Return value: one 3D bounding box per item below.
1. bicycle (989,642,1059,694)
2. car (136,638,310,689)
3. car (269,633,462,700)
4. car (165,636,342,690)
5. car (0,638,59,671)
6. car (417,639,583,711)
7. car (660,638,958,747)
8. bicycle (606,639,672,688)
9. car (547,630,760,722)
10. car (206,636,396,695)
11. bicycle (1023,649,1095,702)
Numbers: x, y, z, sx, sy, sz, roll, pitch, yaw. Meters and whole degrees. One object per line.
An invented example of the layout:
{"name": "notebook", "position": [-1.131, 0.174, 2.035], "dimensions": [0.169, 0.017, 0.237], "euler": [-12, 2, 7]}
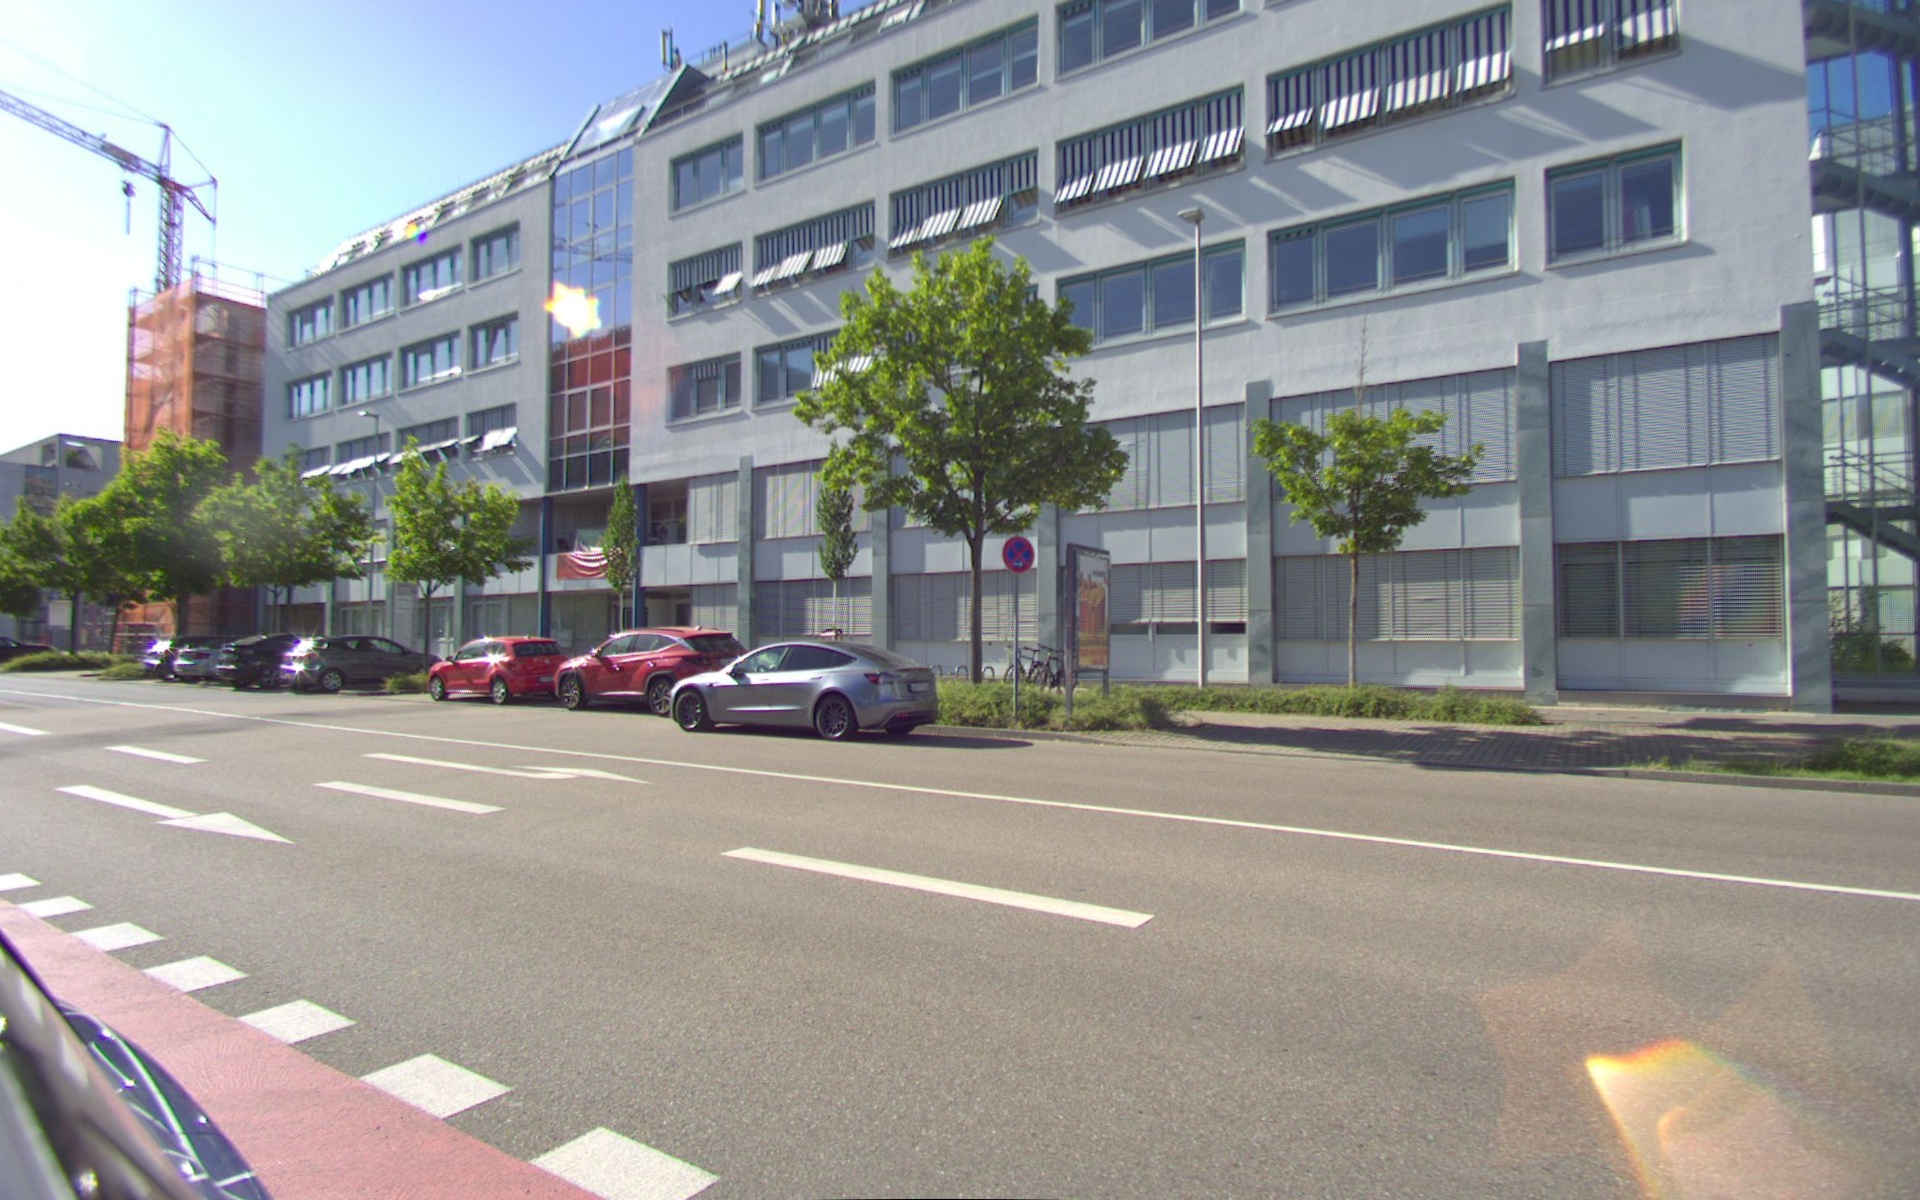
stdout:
{"name": "bicycle", "position": [1.397, 1.465, 21.885], "dimensions": [0.555, 1.077, 1.748], "euler": [-2, -5, 41]}
{"name": "car", "position": [-24.278, 2.040, 33.502], "dimensions": [1.688, 1.443, 4.351], "euler": [-2, -1, 32]}
{"name": "car", "position": [-16.281, 1.765, 27.958], "dimensions": [1.686, 1.549, 4.356], "euler": [-1, -1, 29]}
{"name": "car", "position": [-22.374, 1.946, 32.234], "dimensions": [1.686, 1.443, 4.356], "euler": [-1, -1, 29]}
{"name": "car", "position": [-44.308, 2.517, 46.228], "dimensions": [1.970, 1.443, 4.355], "euler": [-1, -1, 30]}
{"name": "car", "position": [-10.520, 1.648, 23.070], "dimensions": [3.861, 1.443, 1.674], "euler": [-2, -1, 34]}
{"name": "car", "position": [-2.393, 1.347, 15.622], "dimensions": [4.530, 1.479, 1.676], "euler": [-2, -4, 31]}
{"name": "bicycle", "position": [-9.298, 1.818, 29.286], "dimensions": [2.230, 1.357, 0.702], "euler": [-2, -4, 40]}
{"name": "car", "position": [-6.176, 1.444, 20.235], "dimensions": [4.296, 1.619, 1.675], "euler": [-1, -1, 32]}
{"name": "car", "position": [-18.989, 1.830, 29.375], "dimensions": [1.687, 1.443, 4.353], "euler": [-1, -1, 31]}
{"name": "bicycle", "position": [2.132, 1.610, 21.590], "dimensions": [0.621, 1.077, 1.769], "euler": [-2, -5, 41]}
